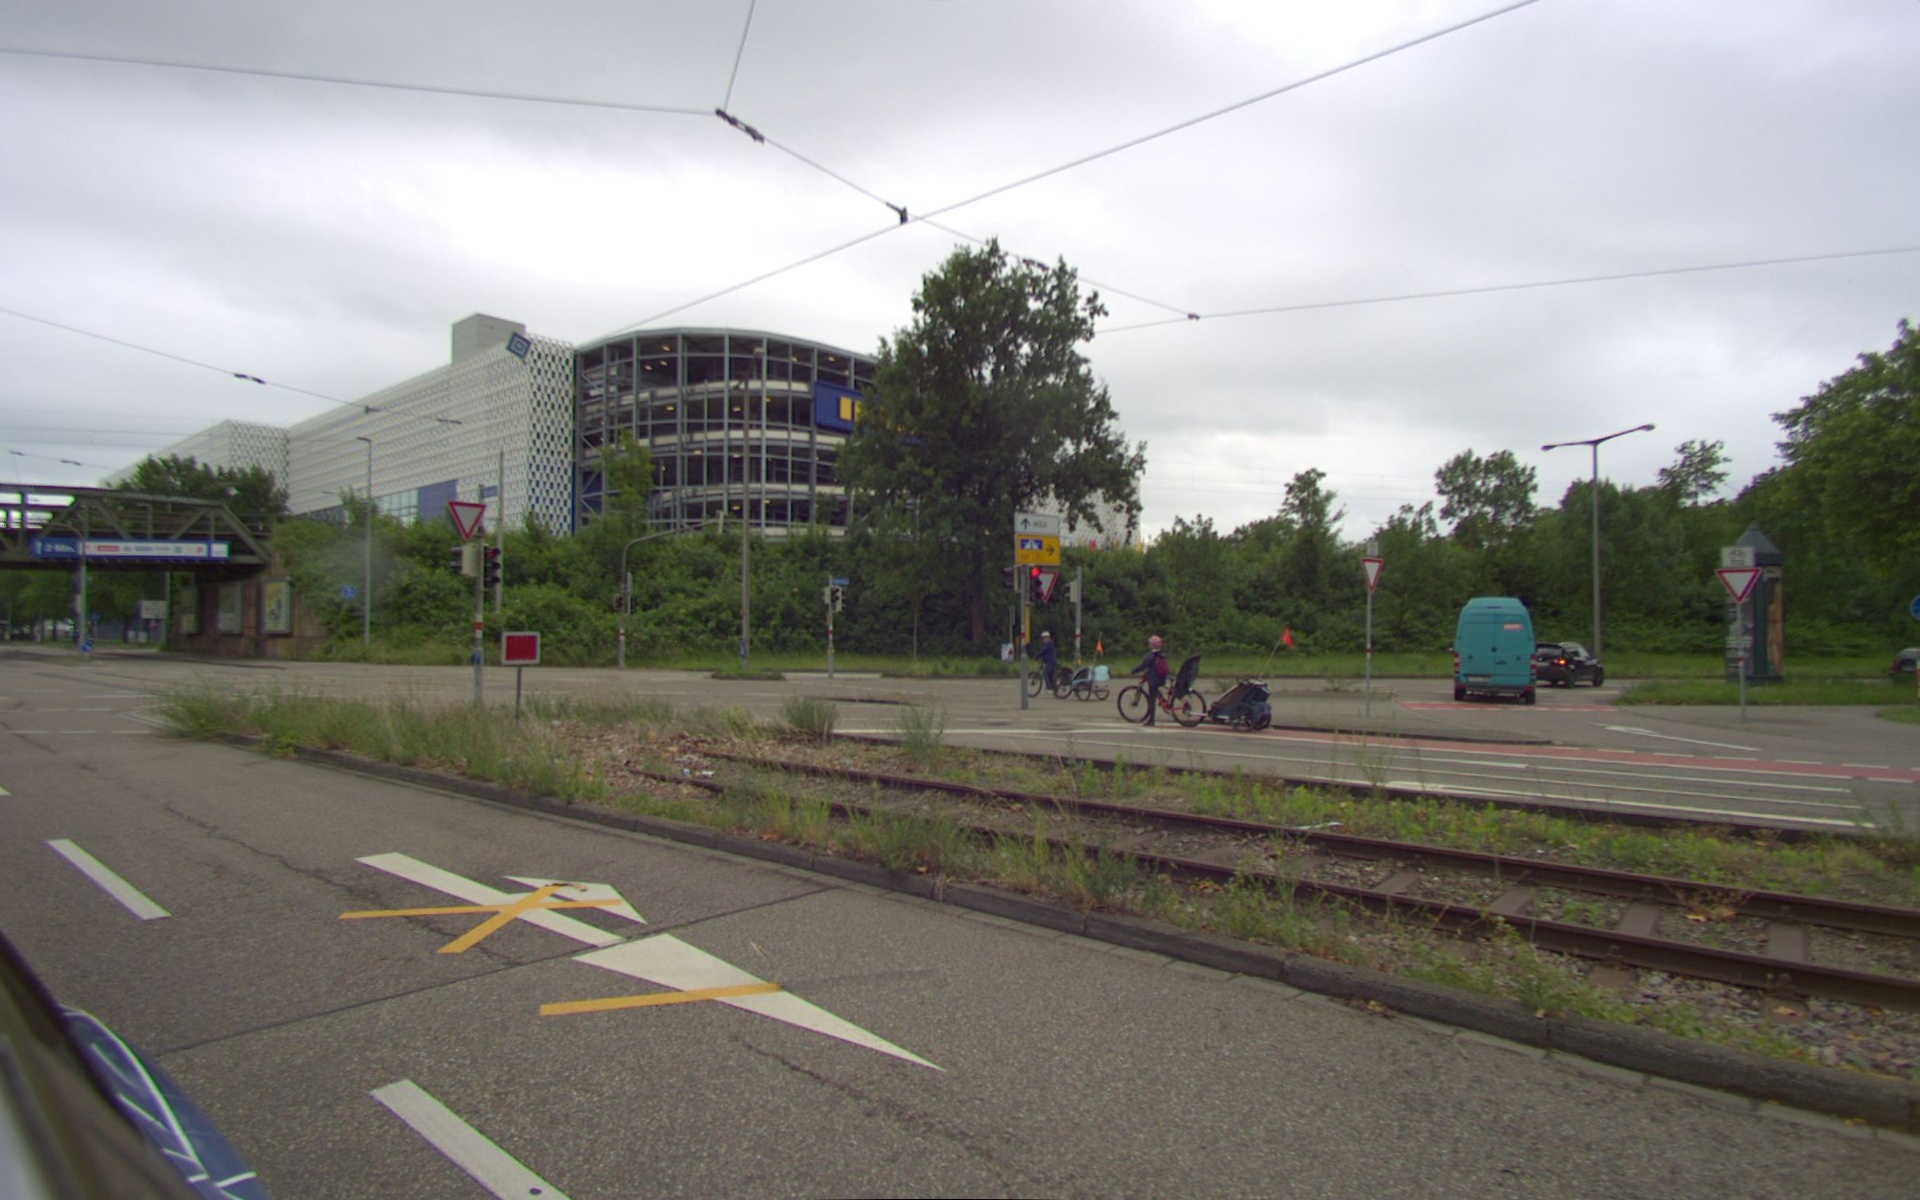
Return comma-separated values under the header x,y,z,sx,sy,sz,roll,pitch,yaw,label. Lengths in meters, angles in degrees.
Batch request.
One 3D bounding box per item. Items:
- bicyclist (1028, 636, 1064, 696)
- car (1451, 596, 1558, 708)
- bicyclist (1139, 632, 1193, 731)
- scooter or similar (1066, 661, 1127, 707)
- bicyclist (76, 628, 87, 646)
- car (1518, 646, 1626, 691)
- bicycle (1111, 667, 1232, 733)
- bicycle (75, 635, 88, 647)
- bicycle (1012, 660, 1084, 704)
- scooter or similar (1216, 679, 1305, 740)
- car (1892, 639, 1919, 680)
x,y,z,sx,sy,sz,roll,pitch,yaw,label
2.262,1.732,26.653,0.637,1.530,0.627,0,-2,-40,bicyclist
15.406,1.434,28.955,2.323,2.847,5.897,-1,-3,25,car
3.680,1.439,18.074,0.685,1.696,0.639,-3,-2,39,bicyclist
3.395,2.075,25.268,0.637,1.070,1.452,0,-2,-40,scooter or similar
-89.908,3.791,103.538,1.019,1.888,0.694,-1,-1,41,bicyclist
21.844,2.409,36.108,3.607,1.539,1.779,2,-3,-31,car
3.746,1.749,18.016,2.022,1.070,0.639,-3,-2,39,bicycle
-89.889,4.151,103.530,2.369,1.196,0.705,-1,-1,41,bicycle
2.303,2.138,26.614,0.637,1.070,2.004,0,-2,-40,bicycle
5.035,1.817,16.965,1.196,0.914,0.836,-3,-2,39,scooter or similar
39.370,2.333,40.195,3.607,1.539,1.779,-1,-2,-16,car
